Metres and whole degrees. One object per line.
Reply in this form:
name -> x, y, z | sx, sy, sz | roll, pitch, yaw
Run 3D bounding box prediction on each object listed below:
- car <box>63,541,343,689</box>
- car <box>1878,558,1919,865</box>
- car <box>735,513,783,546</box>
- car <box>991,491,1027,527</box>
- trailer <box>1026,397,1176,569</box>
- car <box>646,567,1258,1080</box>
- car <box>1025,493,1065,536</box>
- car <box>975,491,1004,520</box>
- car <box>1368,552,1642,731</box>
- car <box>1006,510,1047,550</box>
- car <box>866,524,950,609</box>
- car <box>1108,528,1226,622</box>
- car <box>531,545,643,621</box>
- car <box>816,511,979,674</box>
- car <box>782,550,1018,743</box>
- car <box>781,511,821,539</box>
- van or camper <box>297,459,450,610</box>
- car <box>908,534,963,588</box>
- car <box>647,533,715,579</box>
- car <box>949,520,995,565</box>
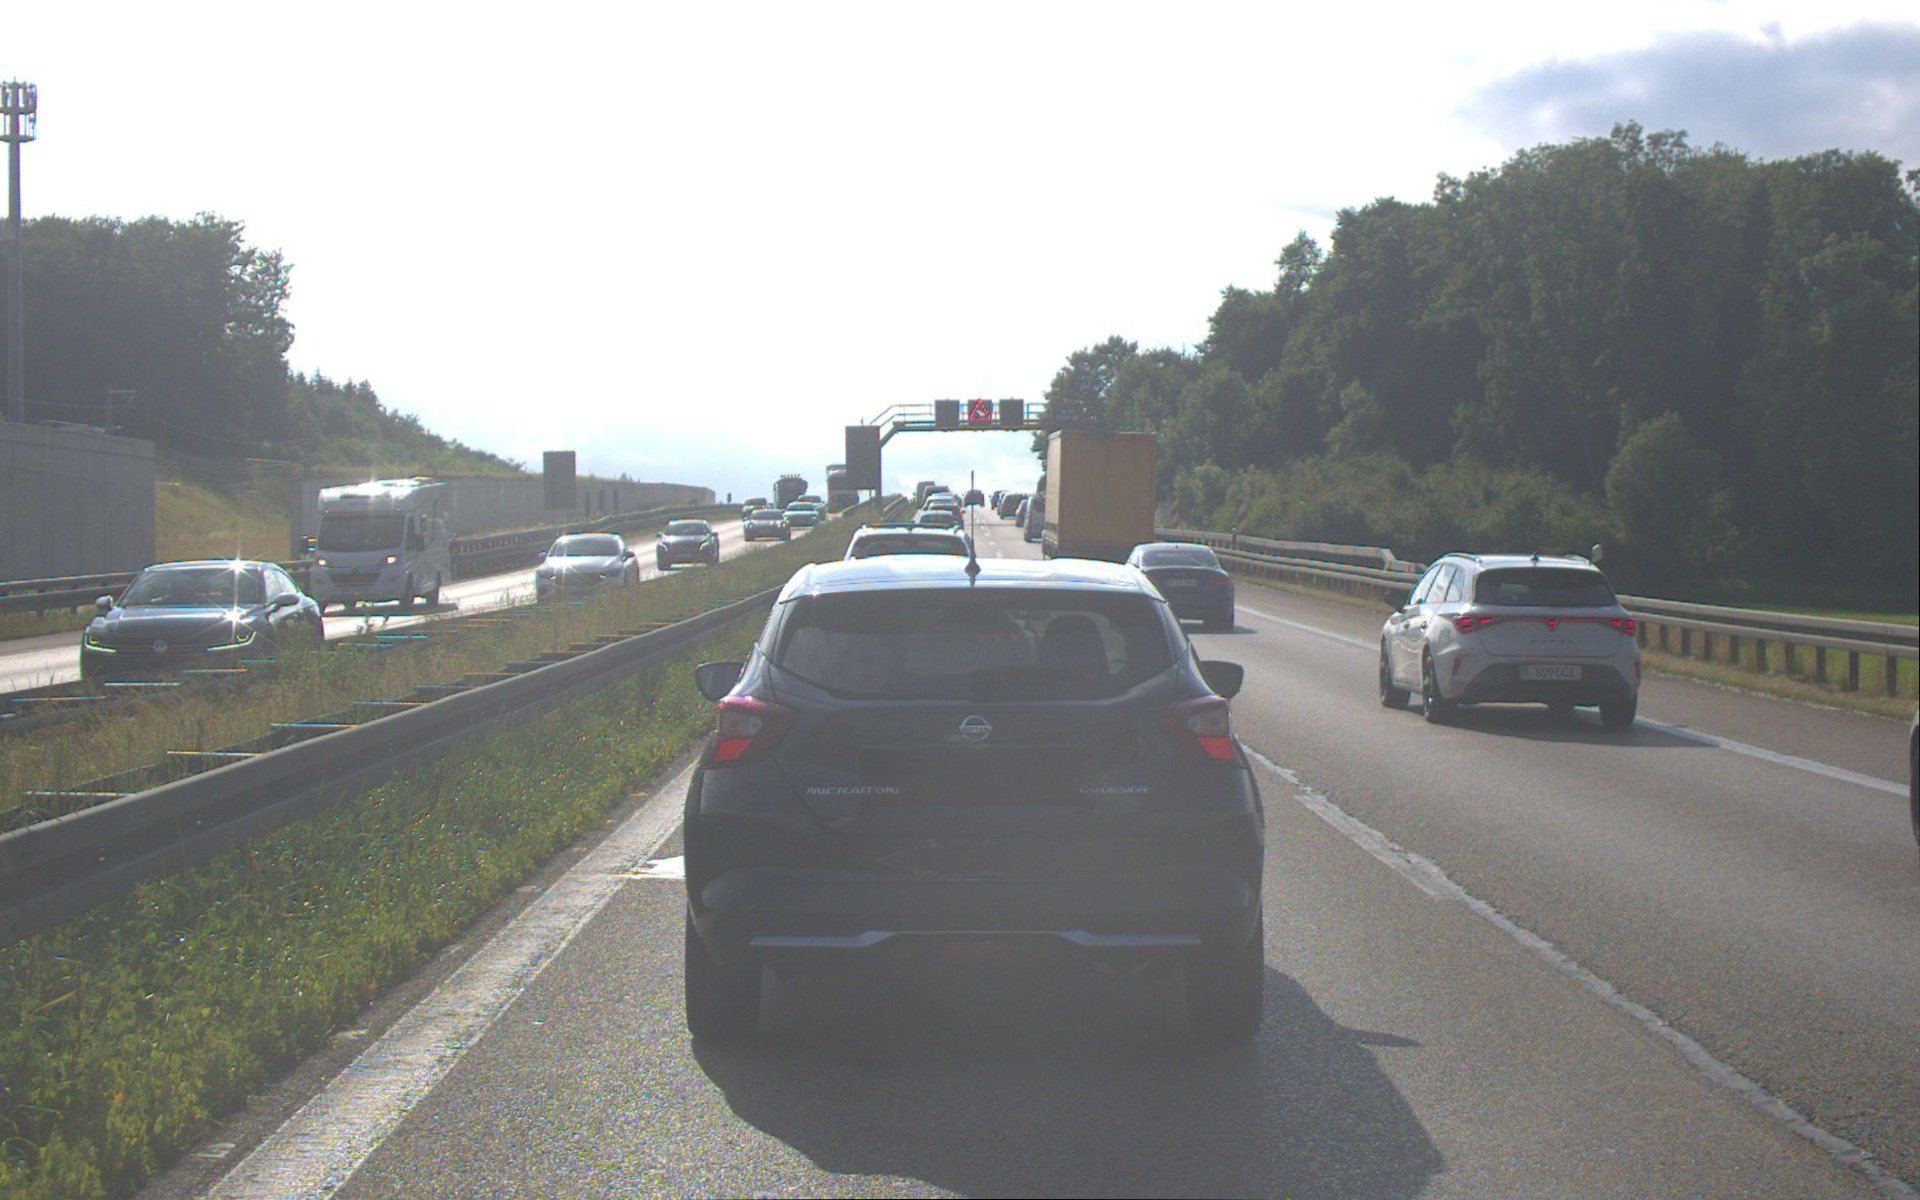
car -> -7.831, 0.135, 35.987 | 1.993, 1.428, 4.449 | 1, 0, -1
car -> 5.494, 0.578, 15.805 | 1.549, 1.490, 3.378 | 1, 1, -1
car -> -9.161, -3.201, 156.925 | 1.993, 1.428, 4.449 | 1, 0, -1
car -> 2.895, -5.382, 203.403 | 1.993, 2.007, 4.000 | 1, 0, -1
trailer -> 3.830, -3.131, 96.919 | 3.548, 4.442, 12.722 | 1, 0, -1
car -> 0.020, 0.620, 11.379 | 1.710, 1.421, 3.378 | 1, 0, 2
car -> 3.617, -3.631, 146.668 | 1.667, 1.749, 3.327 | 1, 0, 2
car -> 2.164, -6.886, 250.368 | 1.993, 2.007, 4.000 | 1, 0, -1
car -> 4.679, 0.326, 30.037 | 1.620, 1.441, 4.147 | 1, 0, -1
car -> 3.481, -3.686, 180.733 | 1.993, 2.007, 4.000 | 1, 0, -1
car -> -1.272, -0.814, 84.531 | 1.993, 2.007, 4.000 | 1, 0, -1
car -> 3.369, -0.411, 56.632 | 1.747, 1.470, 4.147 | 1, 0, 1
car -> -8.061, -0.371, 74.688 | 1.993, 1.587, 4.449 | 1, 0, -1
car -> -0.654, -0.091, 38.432 | 1.674, 1.720, 3.596 | 1, 0, 1
car -> -0.399, 0.324, 26.371 | 1.674, 1.362, 3.596 | 1, 0, 1
car -> -8.609, -4.071, 186.324 | 1.993, 1.428, 4.449 | 1, 0, -1
van or camper -> -12.560, -1.364, 73.983 | 2.225, 3.068, 6.513 | 1, 0, -1
car -> -0.945, -1.463, 129.567 | 1.993, 2.007, 4.000 | 1, 0, -1
car -> -8.972, -1.396, 110.858 | 1.853, 1.428, 4.449 | 1, 0, -1
car -> 0.548, -2.631, 158.726 | 1.993, 2.007, 4.000 | 1, 0, -1
